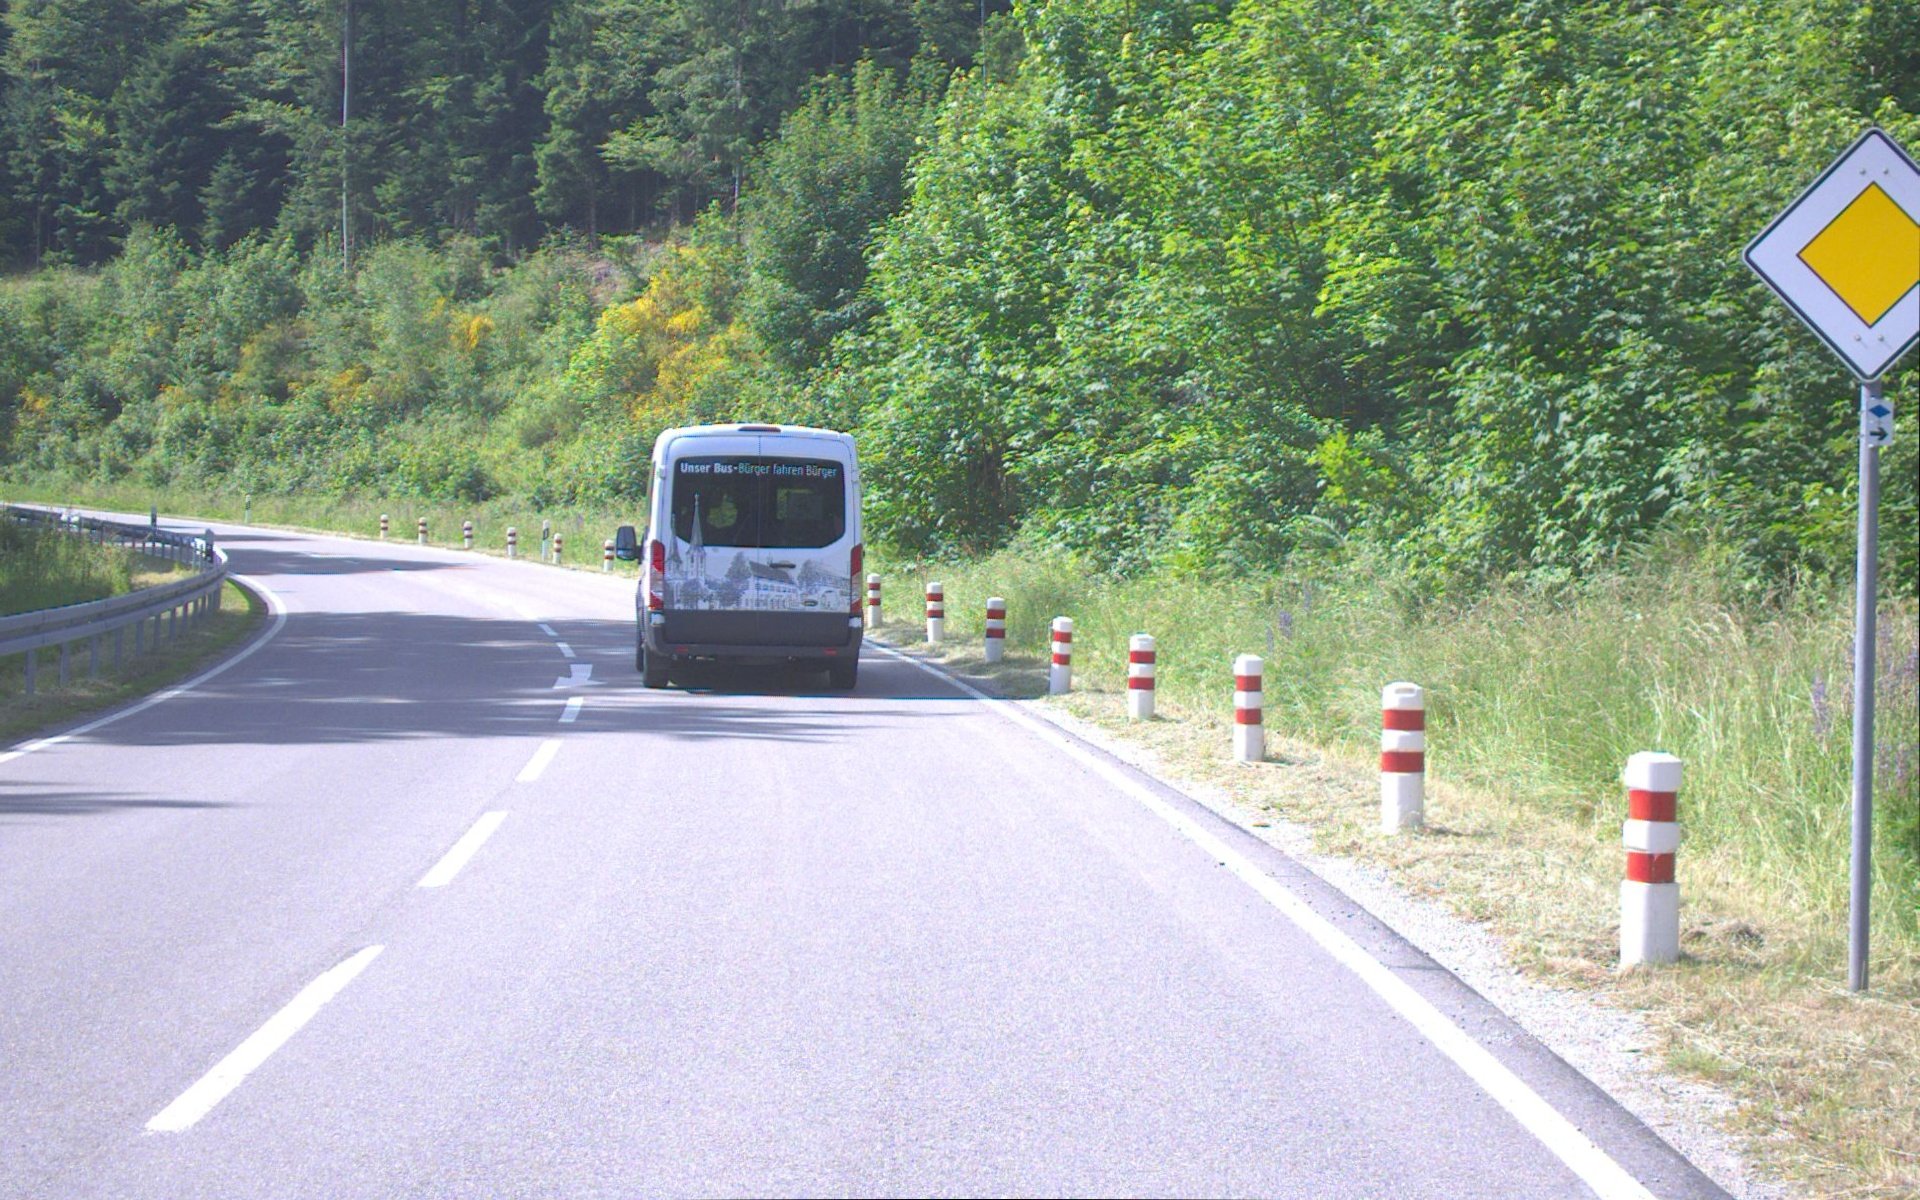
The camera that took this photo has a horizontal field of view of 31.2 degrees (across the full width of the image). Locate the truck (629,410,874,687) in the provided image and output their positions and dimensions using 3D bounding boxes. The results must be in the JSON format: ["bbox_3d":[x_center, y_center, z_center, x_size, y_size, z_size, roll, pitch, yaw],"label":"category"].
[{"bbox_3d":[-2.135,-0.541,33.693,2.115,2.489,5.361,0,2,-6],"label":"truck"}]
